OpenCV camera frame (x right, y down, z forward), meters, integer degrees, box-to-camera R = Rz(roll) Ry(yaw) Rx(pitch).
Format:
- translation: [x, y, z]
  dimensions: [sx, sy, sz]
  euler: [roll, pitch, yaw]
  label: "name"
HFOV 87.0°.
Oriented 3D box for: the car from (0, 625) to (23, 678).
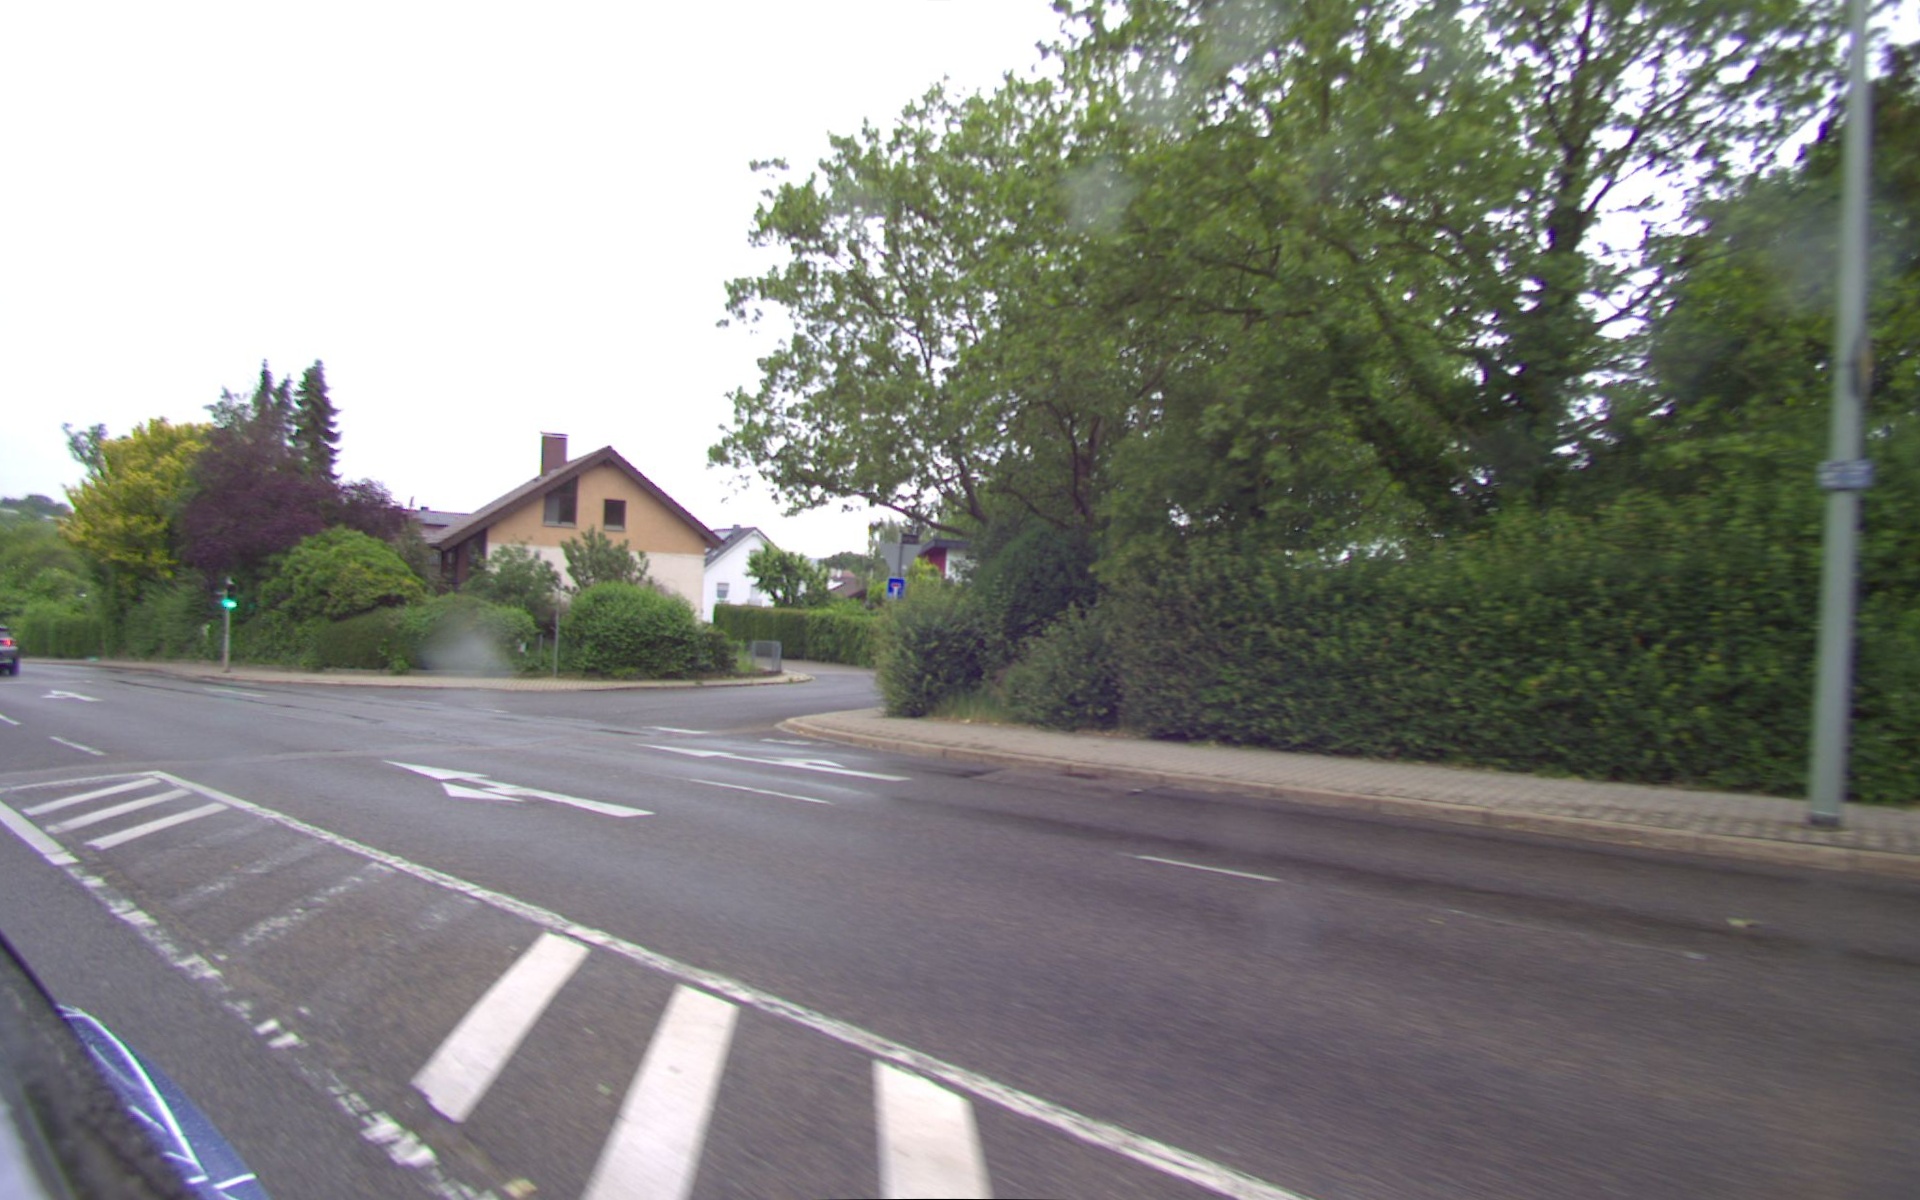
- translation: [-30.806, 1.592, 31.555]
  dimensions: [3.727, 1.615, 1.777]
  euler: [-2, -3, 39]
  label: "car"
